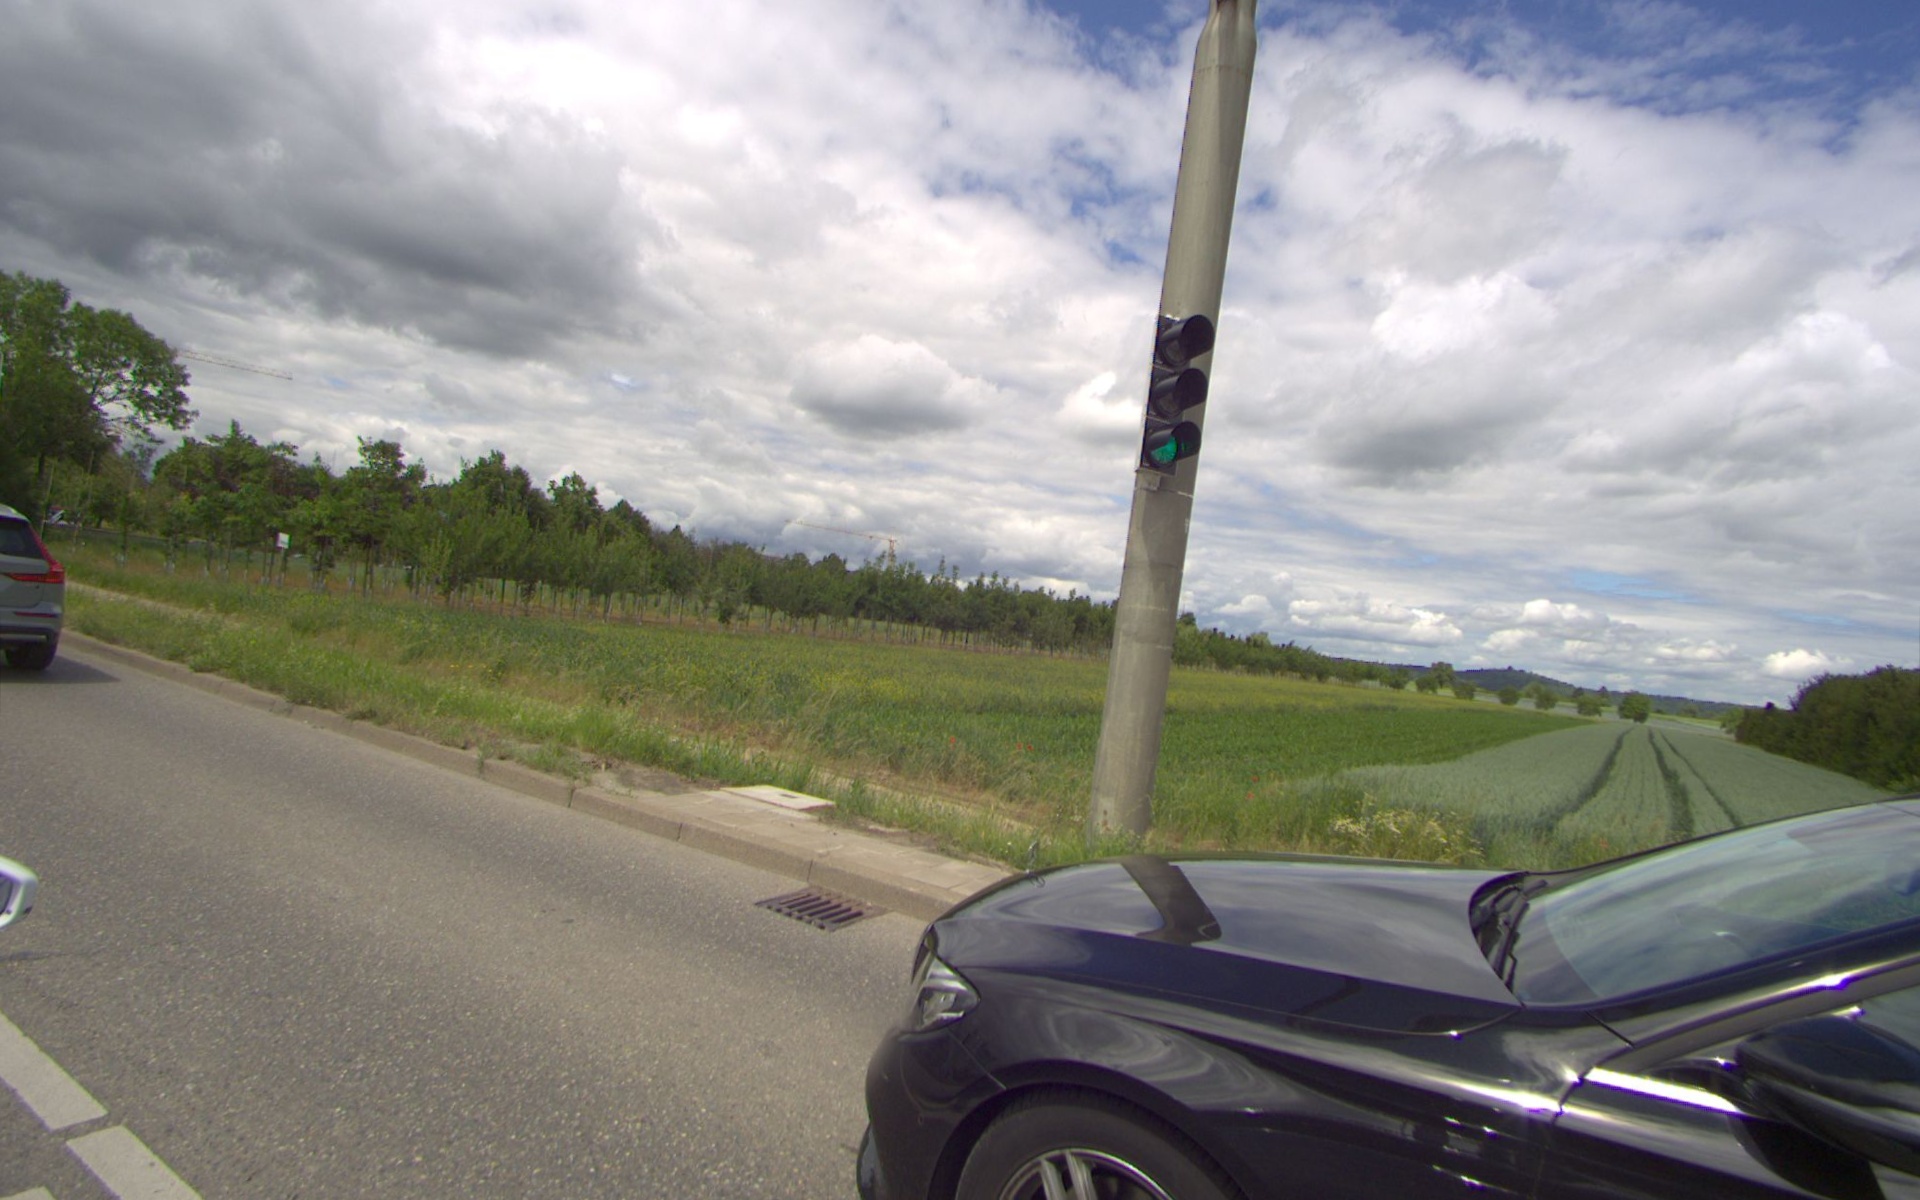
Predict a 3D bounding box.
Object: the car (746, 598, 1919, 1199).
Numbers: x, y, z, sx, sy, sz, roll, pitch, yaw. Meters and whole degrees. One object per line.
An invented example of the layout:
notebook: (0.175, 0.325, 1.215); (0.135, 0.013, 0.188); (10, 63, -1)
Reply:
car: (2.243, 1.049, 1.670); (5.113, 1.458, 1.875); (7, -1, 31)

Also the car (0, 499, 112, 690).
car: (-9.738, -0.278, 9.023); (4.372, 1.536, 1.866); (7, -1, 31)
